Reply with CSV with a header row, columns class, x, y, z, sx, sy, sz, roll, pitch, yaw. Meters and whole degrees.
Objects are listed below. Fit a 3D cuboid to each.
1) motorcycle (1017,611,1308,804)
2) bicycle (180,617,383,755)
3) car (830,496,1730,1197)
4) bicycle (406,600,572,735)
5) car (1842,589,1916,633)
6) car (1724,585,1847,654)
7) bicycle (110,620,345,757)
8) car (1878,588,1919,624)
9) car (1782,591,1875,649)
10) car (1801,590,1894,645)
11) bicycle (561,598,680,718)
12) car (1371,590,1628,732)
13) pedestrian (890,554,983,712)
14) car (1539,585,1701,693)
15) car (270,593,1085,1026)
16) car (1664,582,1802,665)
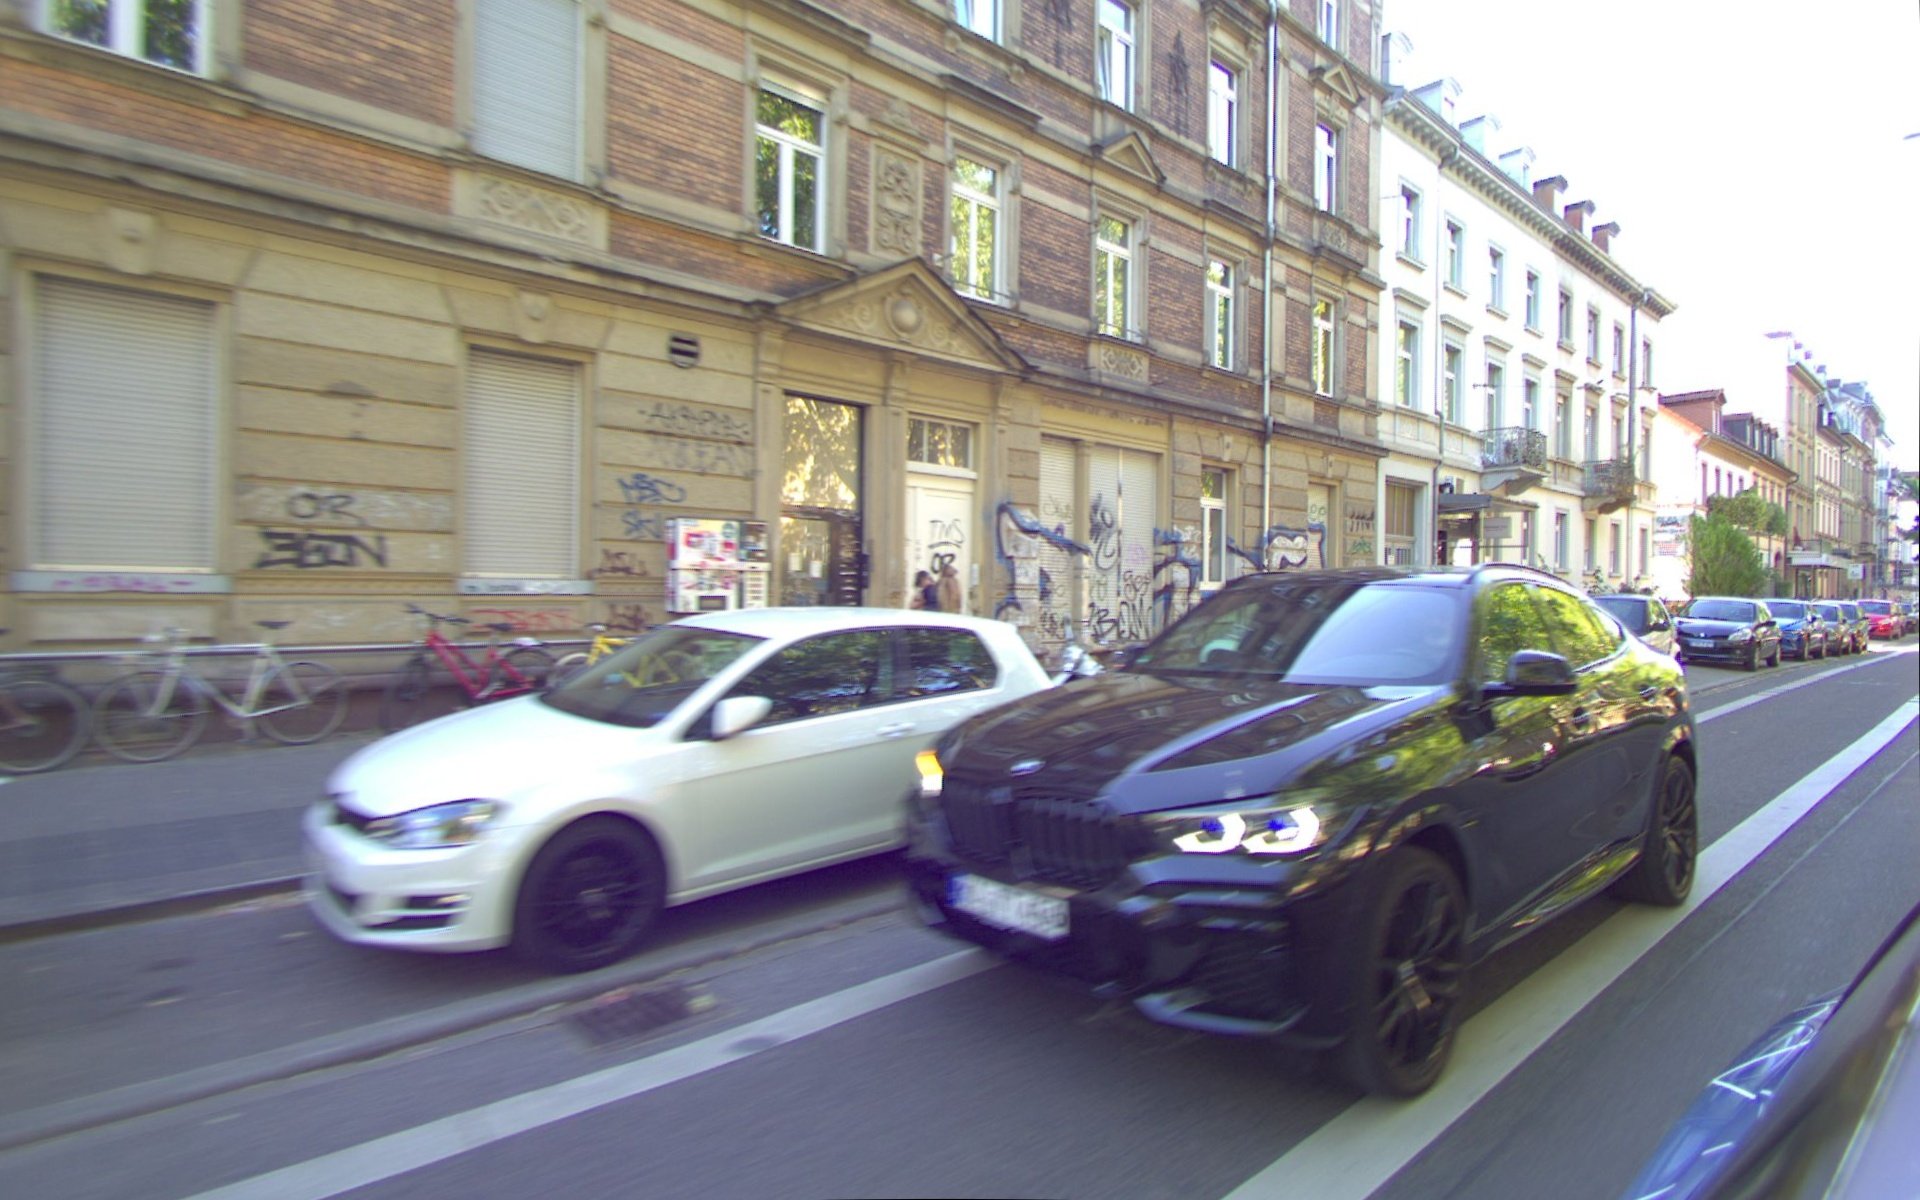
class,x,y,z,sx,sy,sz,roll,pitch,yaw
motorcycle,1.534,0.758,7.818,2.120,1.305,0.637,0,0,27
bicycle,-5.516,0.665,8.273,1.348,1.013,0.378,0,0,-40
car,1.833,0.586,4.733,4.549,1.726,1.947,0,1,-41
bicycle,-4.357,0.587,9.413,1.348,1.168,0.378,0,0,-40
car,36.099,0.394,39.728,3.622,1.588,1.702,0,2,-41
car,21.421,0.460,26.215,3.839,1.523,1.729,0,5,-41
bicycle,-5.847,0.683,8.082,1.772,1.013,0.378,1,0,9
car,44.646,0.262,47.622,3.622,1.588,1.702,0,2,-41
car,25.114,0.534,29.244,3.300,1.524,1.542,0,2,-41
car,28.329,0.513,32.275,3.622,1.588,1.728,0,2,-41
bicycle,-3.442,0.563,10.302,1.119,1.168,0.274,0,0,-40
car,6.878,0.647,12.775,3.675,1.470,1.609,0,3,-41
pedestrian,-0.258,0.339,11.253,0.753,1.677,0.715,0,0,-43
car,10.813,0.562,16.532,2.772,1.561,1.513,0,2,-42
car,-1.242,0.725,5.469,3.944,1.438,1.605,-1,3,-42
car,16.776,0.436,21.915,3.841,1.523,1.634,-1,5,-43
